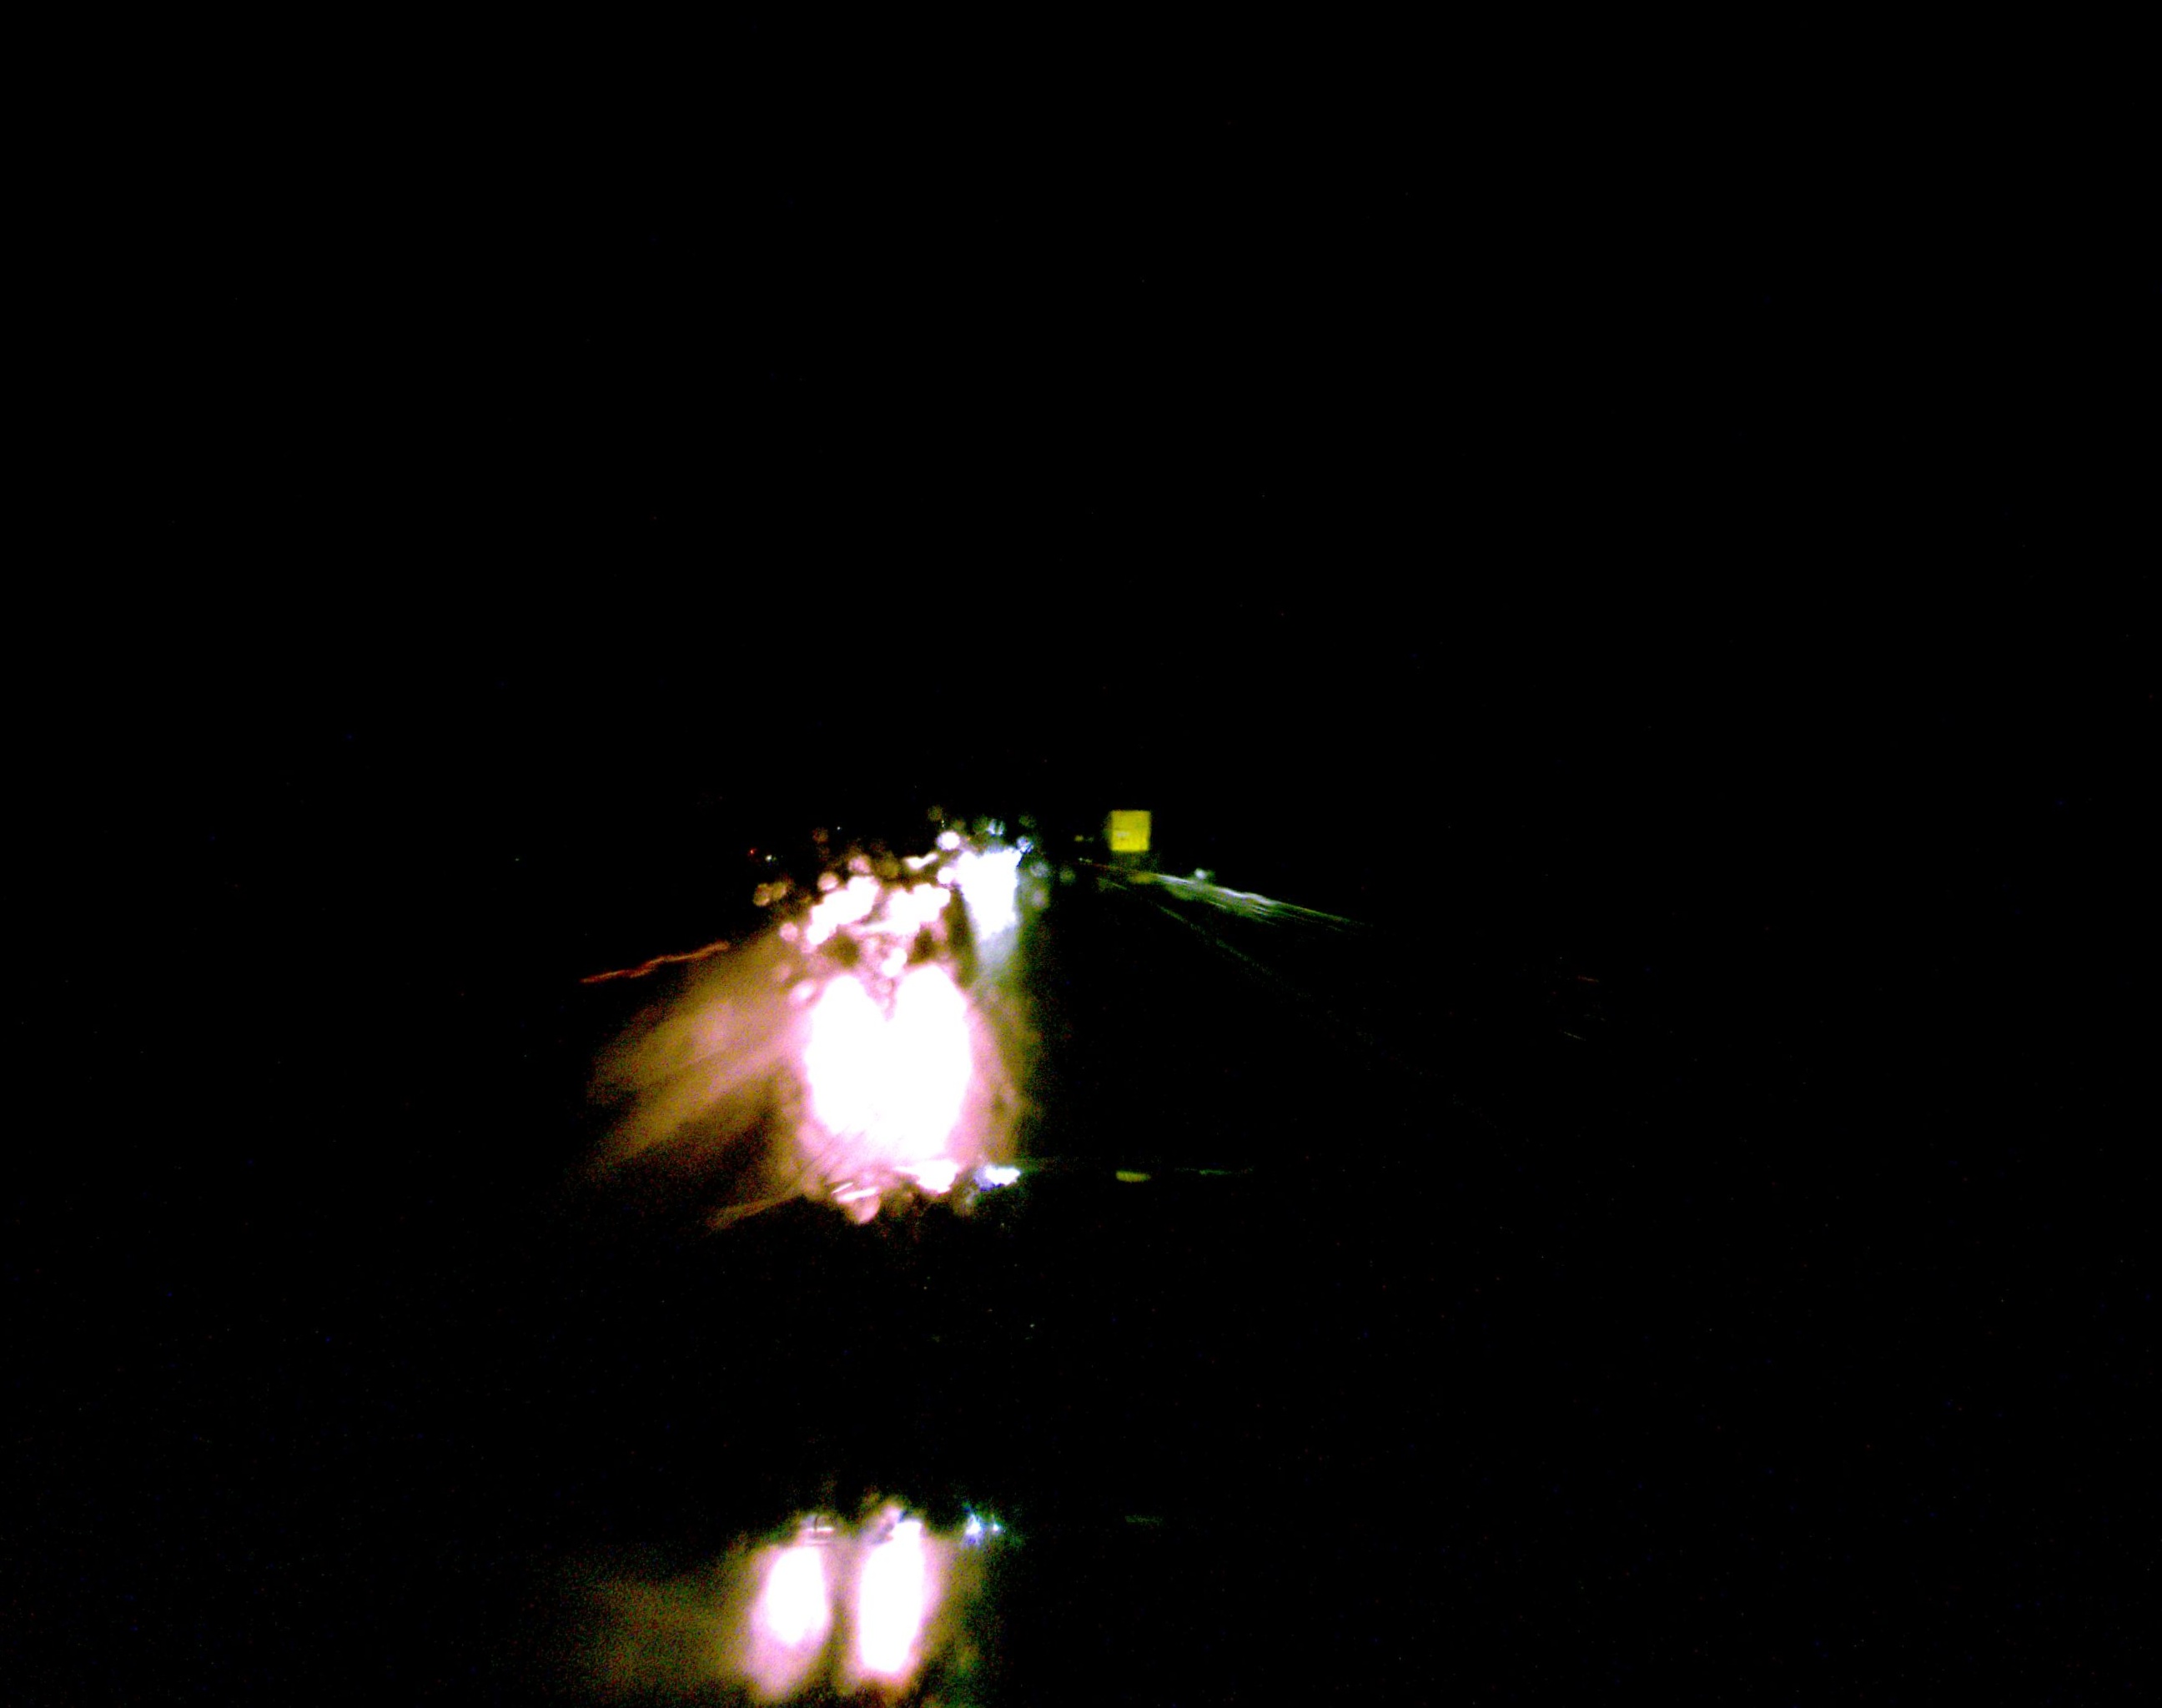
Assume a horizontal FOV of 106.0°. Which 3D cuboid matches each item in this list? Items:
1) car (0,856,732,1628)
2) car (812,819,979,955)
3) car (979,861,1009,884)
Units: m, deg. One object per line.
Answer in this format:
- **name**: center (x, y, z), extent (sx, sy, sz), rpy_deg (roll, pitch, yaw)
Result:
- **car**: center (-3.034, 0.803, 2.593), extent (1.793, 1.520, 4.535), rpy_deg (-2, -1, 1)
- **car**: center (-3.134, 0.524, 14.657), extent (1.986, 2.075, 4.001), rpy_deg (-1, 0, 1)
- **car**: center (-6.533, 1.378, 61.813), extent (1.989, 1.613, 4.606), rpy_deg (-2, 0, -3)
